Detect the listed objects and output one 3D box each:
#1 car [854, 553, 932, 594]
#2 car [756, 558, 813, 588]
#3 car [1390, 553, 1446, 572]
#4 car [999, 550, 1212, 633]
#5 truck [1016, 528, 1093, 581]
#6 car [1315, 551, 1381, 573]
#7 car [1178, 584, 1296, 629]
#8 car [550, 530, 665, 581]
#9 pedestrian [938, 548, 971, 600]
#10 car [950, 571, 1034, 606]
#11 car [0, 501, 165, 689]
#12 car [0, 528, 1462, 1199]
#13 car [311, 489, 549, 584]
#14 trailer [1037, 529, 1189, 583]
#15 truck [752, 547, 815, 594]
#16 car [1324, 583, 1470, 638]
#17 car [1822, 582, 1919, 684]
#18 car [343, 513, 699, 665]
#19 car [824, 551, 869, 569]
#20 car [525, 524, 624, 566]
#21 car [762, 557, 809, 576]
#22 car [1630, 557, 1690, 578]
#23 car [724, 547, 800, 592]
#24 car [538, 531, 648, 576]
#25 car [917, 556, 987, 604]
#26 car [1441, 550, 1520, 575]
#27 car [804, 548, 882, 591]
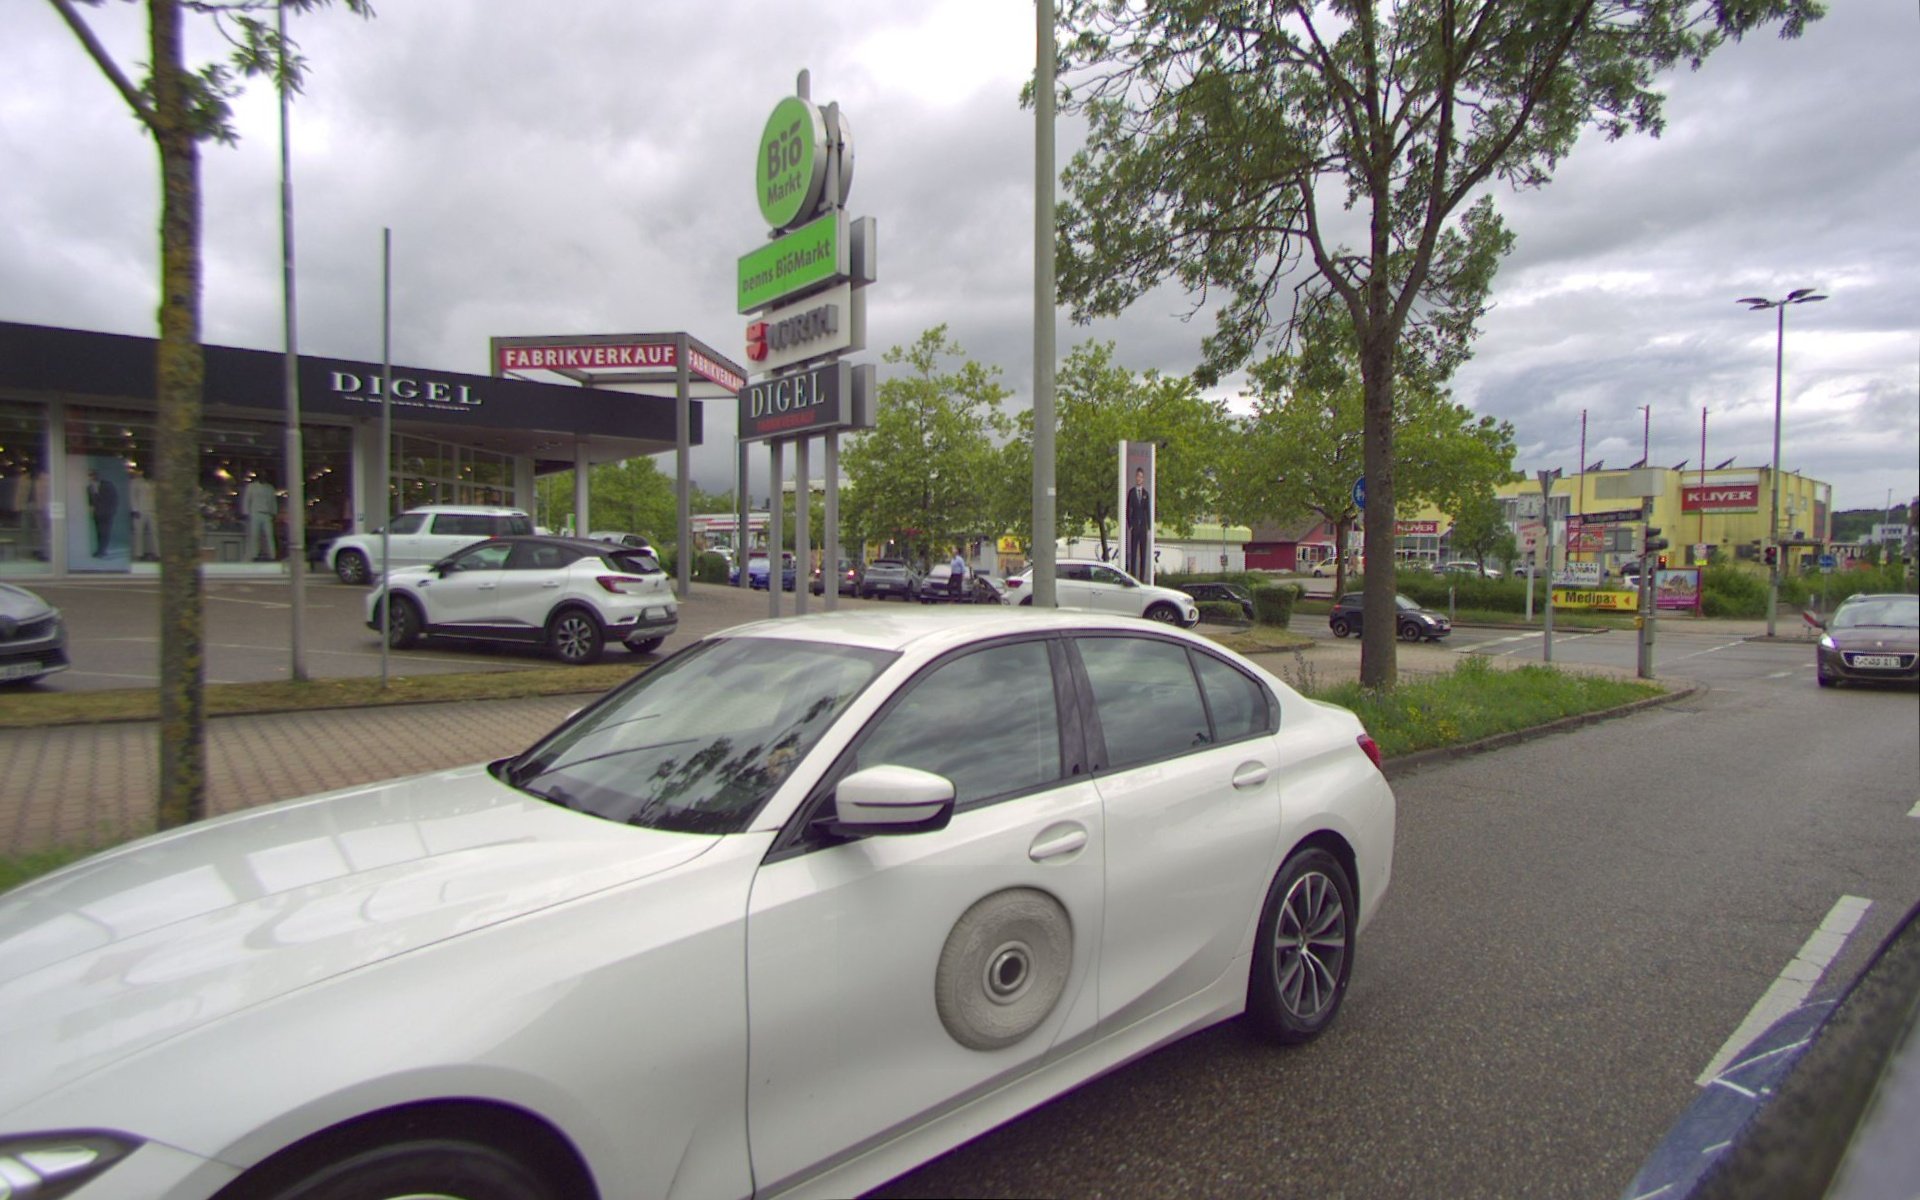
[{"bbox_3d":[-2.458,-0.997,38.168,1.951,1.396,4.143,-1,1,10],"label":"car"},{"bbox_3d":[-11.022,-1.705,63.470,1.821,1.762,3.989,0,2,-39],"label":"car"},{"bbox_3d":[43.745,-3.623,96.741,1.965,1.760,4.379,0,3,-41],"label":"car"},{"bbox_3d":[2.968,-0.208,21.383,4.208,1.595,1.932,1,2,2],"label":"car"},{"bbox_3d":[7.156,-3.386,76.478,5.044,3.763,3.158,1,0,-40],"label":"truck"},{"bbox_3d":[34.491,-3.385,90.050,2.340,1.801,4.978,0,3,-41],"label":"car"},{"bbox_3d":[10.285,0.189,37.864,1.705,1.567,4.154,-2,1,-34],"label":"car"},{"bbox_3d":[-11.189,-1.418,32.390,1.710,1.499,4.144,1,2,9],"label":"car"},{"bbox_3d":[-0.162,-0.830,32.270,0.791,1.634,0.718,2,2,25],"label":"pedestrian"},{"bbox_3d":[1.488,-0.573,48.078,1.785,1.465,3.989,-2,4,-39],"label":"car"},{"bbox_3d":[-9.552,-0.106,9.298,3.542,1.555,1.639,2,2,11],"label":"car"},{"bbox_3d":[-0.272,0.662,3.234,4.540,1.563,1.804,-1,1,-42],"label":"car"},{"bbox_3d":[-10.805,-1.288,20.749,4.083,1.793,1.735,1,2,8],"label":"car"},{"bbox_3d":[12.470,-3.341,80.919,14.547,3.763,3.158,1,0,-40],"label":"trailer"},{"bbox_3d":[-9.998,-1.712,57.092,1.785,2.515,3.989,-1,4,-39],"label":"truck"},{"bbox_3d":[14.145,0.280,32.913,1.785,1.507,3.989,-2,4,-39],"label":"car"},{"bbox_3d":[17.025,0.501,18.128,4.392,1.645,1.730,-1,1,-40],"label":"car"},{"bbox_3d":[-5.824,-0.201,13.657,3.964,1.683,1.977,3,2,11],"label":"car"},{"bbox_3d":[-9.744,-3.459,87.181,1.981,1.460,3.962,2,2,27],"label":"car"},{"bbox_3d":[-14.797,-2.080,39.077,1.710,1.499,4.144,1,2,9],"label":"car"},{"bbox_3d":[-14.382,-2.762,83.247,1.965,1.460,3.995,0,3,-41],"label":"car"},{"bbox_3d":[61.737,-2.859,89.268,1.965,1.801,3.995,0,3,-41],"label":"car"},{"bbox_3d":[-8.738,-1.359,45.140,1.965,1.814,4.922,-2,1,6],"label":"car"},{"bbox_3d":[-13.067,-1.645,36.280,1.712,1.499,4.138,2,2,13],"label":"car"},{"bbox_3d":[-0.210,-0.744,35.596,1.965,1.504,5.004,1,2,5],"label":"car"},{"bbox_3d":[40.696,-2.954,79.200,2.340,1.801,4.978,0,3,-41],"label":"car"},{"bbox_3d":[-4.609,-1.212,40.470,1.968,1.599,4.216,-1,1,10],"label":"car"}]
